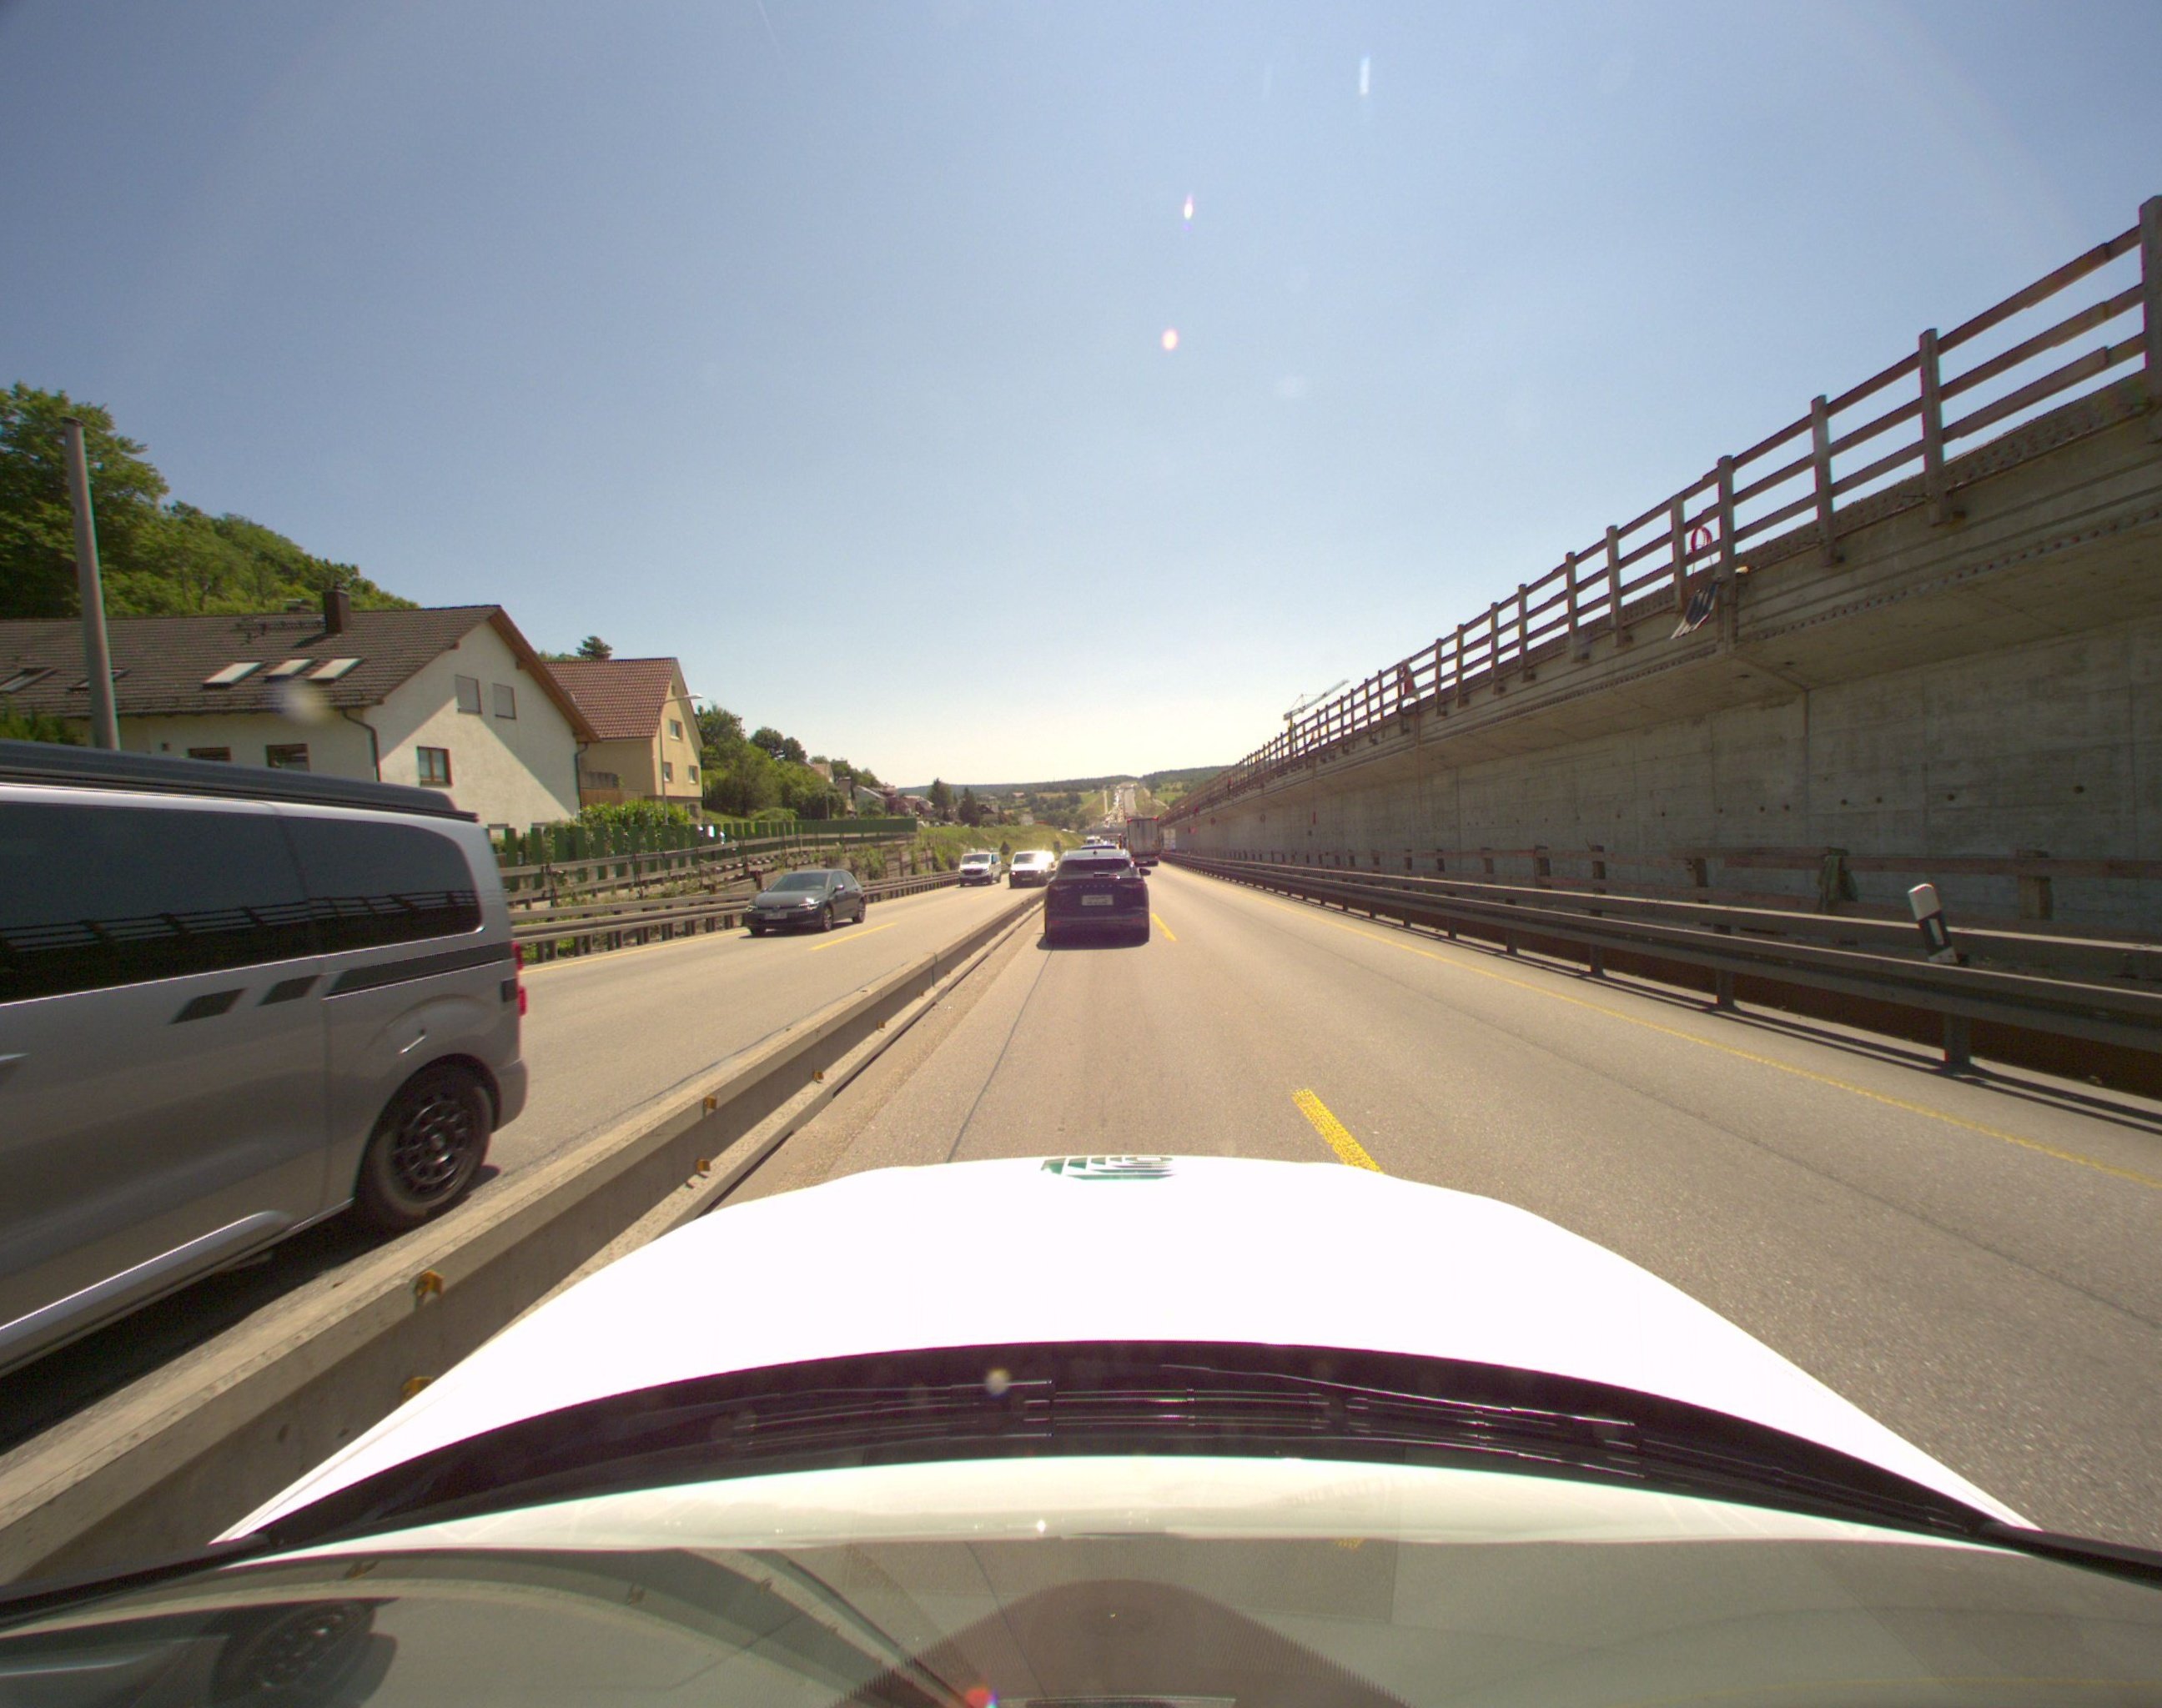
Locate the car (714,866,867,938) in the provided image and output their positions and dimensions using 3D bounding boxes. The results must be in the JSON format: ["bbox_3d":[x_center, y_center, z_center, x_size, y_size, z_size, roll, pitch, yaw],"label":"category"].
[{"bbox_3d":[-6.712,1.040,19.384,1.987,1.442,4.364,-2,-1,1],"label":"car"}]

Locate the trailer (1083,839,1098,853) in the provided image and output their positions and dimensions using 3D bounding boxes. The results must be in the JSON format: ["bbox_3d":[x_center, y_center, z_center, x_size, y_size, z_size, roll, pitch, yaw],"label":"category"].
[{"bbox_3d":[3.053,-2.562,265.313,3.217,4.158,13.378,-4,0,-6],"label":"trailer"}]

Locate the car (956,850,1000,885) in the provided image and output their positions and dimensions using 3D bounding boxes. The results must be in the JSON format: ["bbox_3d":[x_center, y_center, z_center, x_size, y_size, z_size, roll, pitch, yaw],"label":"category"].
[{"bbox_3d":[-6.095,0.783,48.893,1.818,1.926,5.244,-2,0,1],"label":"car"}]

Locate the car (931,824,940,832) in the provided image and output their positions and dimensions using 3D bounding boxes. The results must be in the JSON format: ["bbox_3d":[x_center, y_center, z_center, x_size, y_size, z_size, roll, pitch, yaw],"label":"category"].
[{"bbox_3d":[-34.805,-6.176,195.244,1.924,1.728,3.989,-3,0,-8],"label":"car"}]

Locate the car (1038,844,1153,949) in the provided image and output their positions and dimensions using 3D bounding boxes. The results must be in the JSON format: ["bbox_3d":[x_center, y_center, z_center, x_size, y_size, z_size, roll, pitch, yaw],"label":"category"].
[{"bbox_3d":[0.284,0.694,15.108,1.776,1.597,3.756,-3,0,1],"label":"car"}]

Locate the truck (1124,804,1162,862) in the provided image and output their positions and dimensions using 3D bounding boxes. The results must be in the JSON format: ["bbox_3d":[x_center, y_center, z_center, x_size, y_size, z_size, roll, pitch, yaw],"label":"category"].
[{"bbox_3d":[5.397,-1.638,72.696,2.834,4.615,11.819,-3,-1,3],"label":"truck"}]

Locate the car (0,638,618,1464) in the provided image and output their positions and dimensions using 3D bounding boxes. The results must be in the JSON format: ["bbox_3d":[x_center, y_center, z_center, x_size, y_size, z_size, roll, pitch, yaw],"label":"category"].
[{"bbox_3d":[-3.646,0.511,2.001,1.986,2.014,4.970,-2,-1,2],"label":"car"}]

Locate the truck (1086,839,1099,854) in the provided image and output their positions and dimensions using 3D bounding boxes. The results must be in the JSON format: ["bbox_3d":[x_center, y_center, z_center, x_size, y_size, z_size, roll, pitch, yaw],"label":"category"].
[{"bbox_3d":[3.652,-2.389,259.944,3.177,4.238,6.470,-3,-1,-6],"label":"truck"}]

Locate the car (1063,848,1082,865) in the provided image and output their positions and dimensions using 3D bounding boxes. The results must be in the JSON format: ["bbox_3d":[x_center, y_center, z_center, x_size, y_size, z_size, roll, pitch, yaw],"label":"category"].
[{"bbox_3d":[-0.866,0.234,85.483,1.768,1.633,4.101,-2,0,1],"label":"car"}]

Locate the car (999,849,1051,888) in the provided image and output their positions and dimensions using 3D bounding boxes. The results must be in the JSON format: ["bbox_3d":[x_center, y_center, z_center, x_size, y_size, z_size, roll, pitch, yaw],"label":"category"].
[{"bbox_3d":[-2.871,0.738,42.909,2.149,1.906,5.327,-2,-1,1],"label":"car"}]

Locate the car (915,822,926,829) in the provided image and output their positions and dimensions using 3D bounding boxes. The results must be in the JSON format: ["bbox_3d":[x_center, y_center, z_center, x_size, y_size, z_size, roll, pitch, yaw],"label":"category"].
[{"bbox_3d":[-34.504,-6.222,175.297,1.993,1.320,3.988,0,-1,-9],"label":"car"}]

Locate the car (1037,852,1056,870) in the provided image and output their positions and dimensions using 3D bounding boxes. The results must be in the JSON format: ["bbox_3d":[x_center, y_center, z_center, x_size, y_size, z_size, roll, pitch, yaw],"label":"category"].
[{"bbox_3d":[-3.799,0.815,90.397,1.590,1.833,4.755,-3,-1,2],"label":"car"}]

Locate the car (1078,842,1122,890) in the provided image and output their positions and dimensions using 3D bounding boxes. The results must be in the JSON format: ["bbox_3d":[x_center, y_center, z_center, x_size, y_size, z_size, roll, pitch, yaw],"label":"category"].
[{"bbox_3d":[0.759,0.485,34.495,1.744,1.895,3.754,-1,0,0],"label":"car"}]
